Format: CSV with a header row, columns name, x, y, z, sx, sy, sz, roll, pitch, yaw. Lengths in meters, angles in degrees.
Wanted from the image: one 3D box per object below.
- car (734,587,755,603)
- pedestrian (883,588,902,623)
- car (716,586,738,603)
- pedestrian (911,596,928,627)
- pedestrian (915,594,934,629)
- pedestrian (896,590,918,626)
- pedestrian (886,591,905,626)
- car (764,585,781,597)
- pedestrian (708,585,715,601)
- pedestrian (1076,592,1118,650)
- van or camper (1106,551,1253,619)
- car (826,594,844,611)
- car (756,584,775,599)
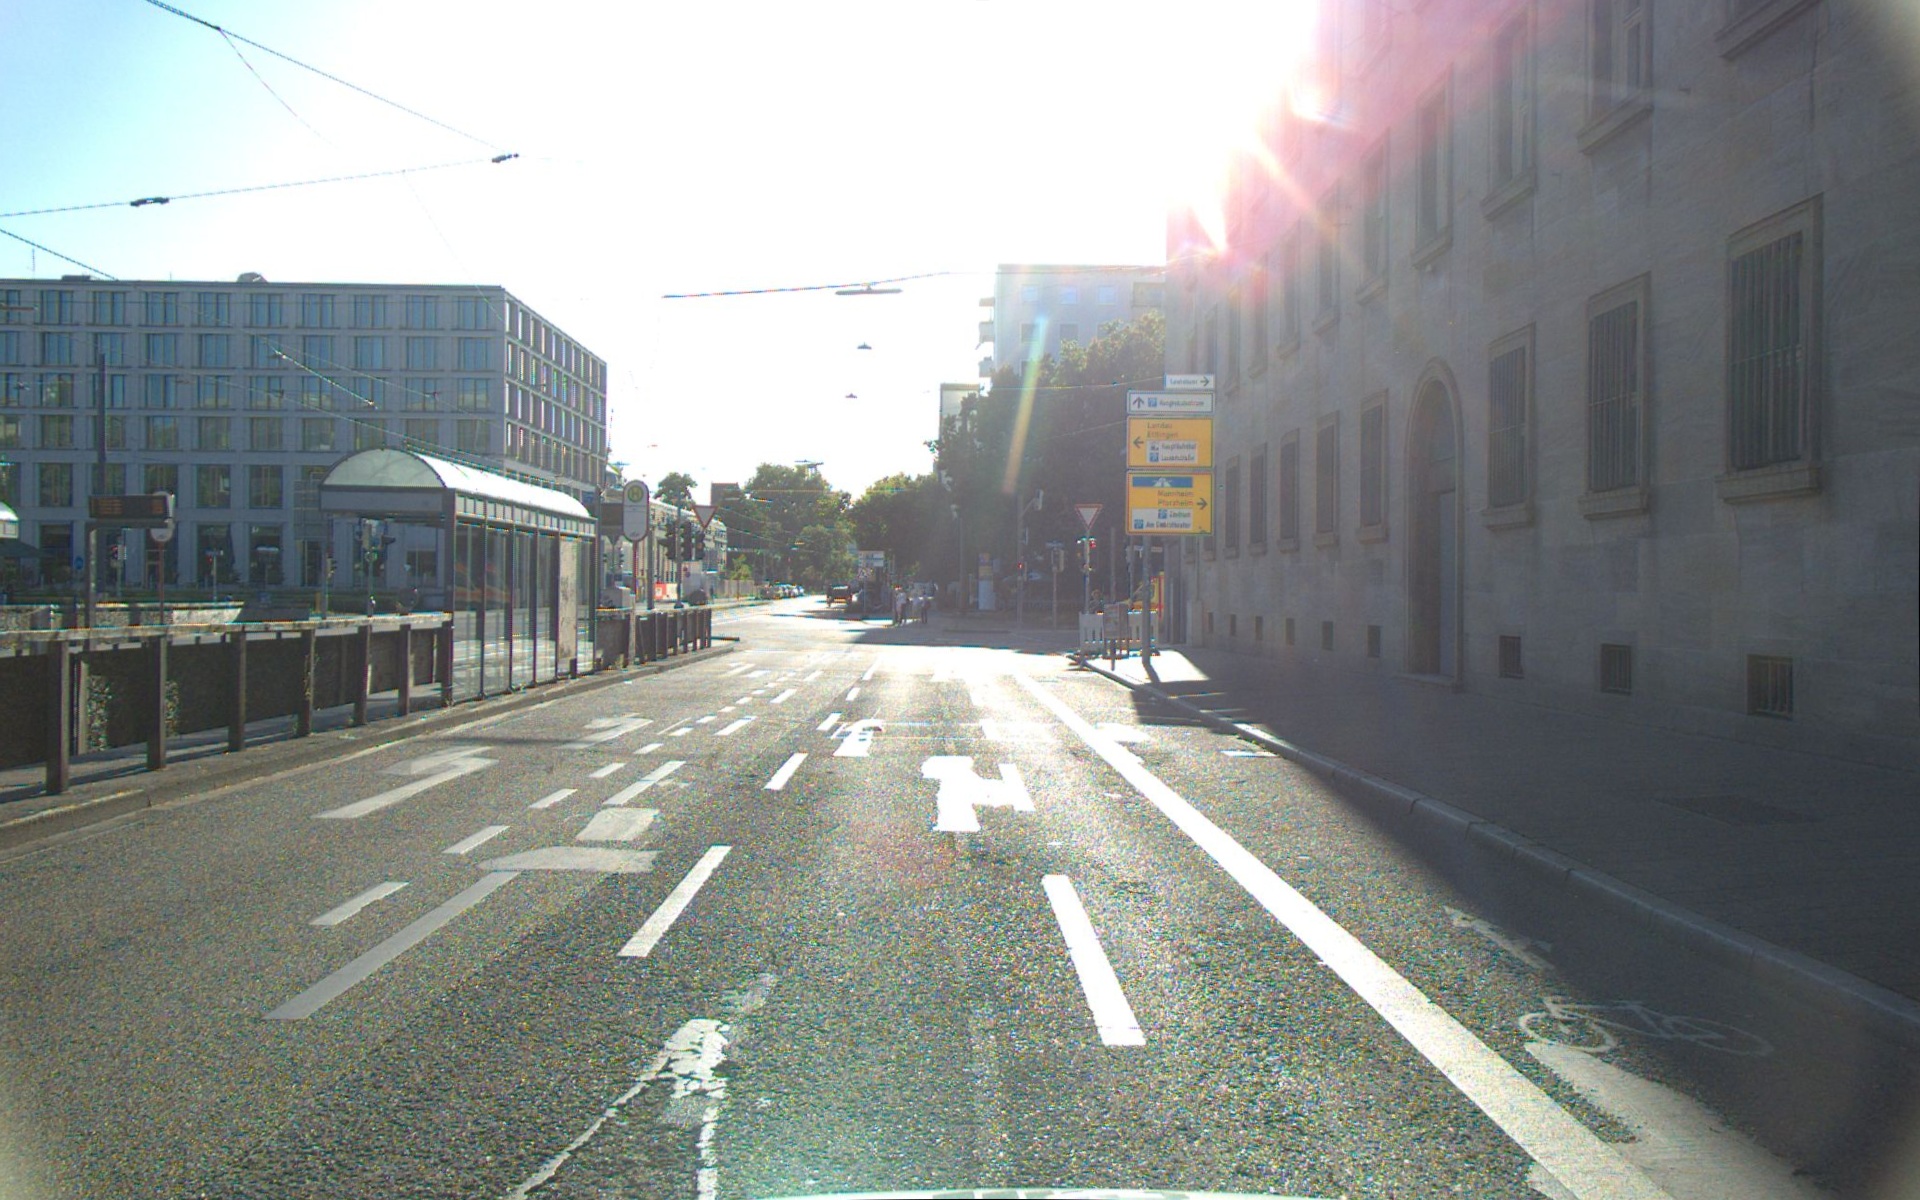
name,x,y,z,sx,sy,sz,roll,pitch,yaw
car,-23.899,-0.522,183.459,1.782,1.742,3.805,0,0,-1
pedestrian,-3.566,0.288,86.844,0.834,1.815,0.776,0,0,-17
car,-24.311,-0.620,172.564,1.782,1.742,3.805,0,0,-1
pedestrian,-2.129,0.586,86.476,0.750,1.586,0.585,0,0,-17
pedestrian,-1.833,0.592,85.696,0.834,1.815,0.776,0,0,-17
pedestrian,-2.708,0.404,84.537,0.950,1.815,0.776,0,0,-17
pedestrian,-3.370,0.445,86.009,0.834,1.815,0.776,0,0,-17
car,-22.577,-1.090,199.200,1.577,1.524,3.805,0,0,-1
pedestrian,-23.534,-0.691,156.780,0.513,1.510,0.437,2,-1,-2
pedestrian,4.137,0.625,50.143,1.021,1.751,1.032,0,0,-12
van or camper,10.271,-0.667,77.857,6.568,2.911,2.912,2,-1,3
car,-13.347,0.245,176.219,1.650,1.768,3.508,2,-1,-1
car,-22.940,-0.986,195.228,1.782,1.742,3.805,0,0,-1
